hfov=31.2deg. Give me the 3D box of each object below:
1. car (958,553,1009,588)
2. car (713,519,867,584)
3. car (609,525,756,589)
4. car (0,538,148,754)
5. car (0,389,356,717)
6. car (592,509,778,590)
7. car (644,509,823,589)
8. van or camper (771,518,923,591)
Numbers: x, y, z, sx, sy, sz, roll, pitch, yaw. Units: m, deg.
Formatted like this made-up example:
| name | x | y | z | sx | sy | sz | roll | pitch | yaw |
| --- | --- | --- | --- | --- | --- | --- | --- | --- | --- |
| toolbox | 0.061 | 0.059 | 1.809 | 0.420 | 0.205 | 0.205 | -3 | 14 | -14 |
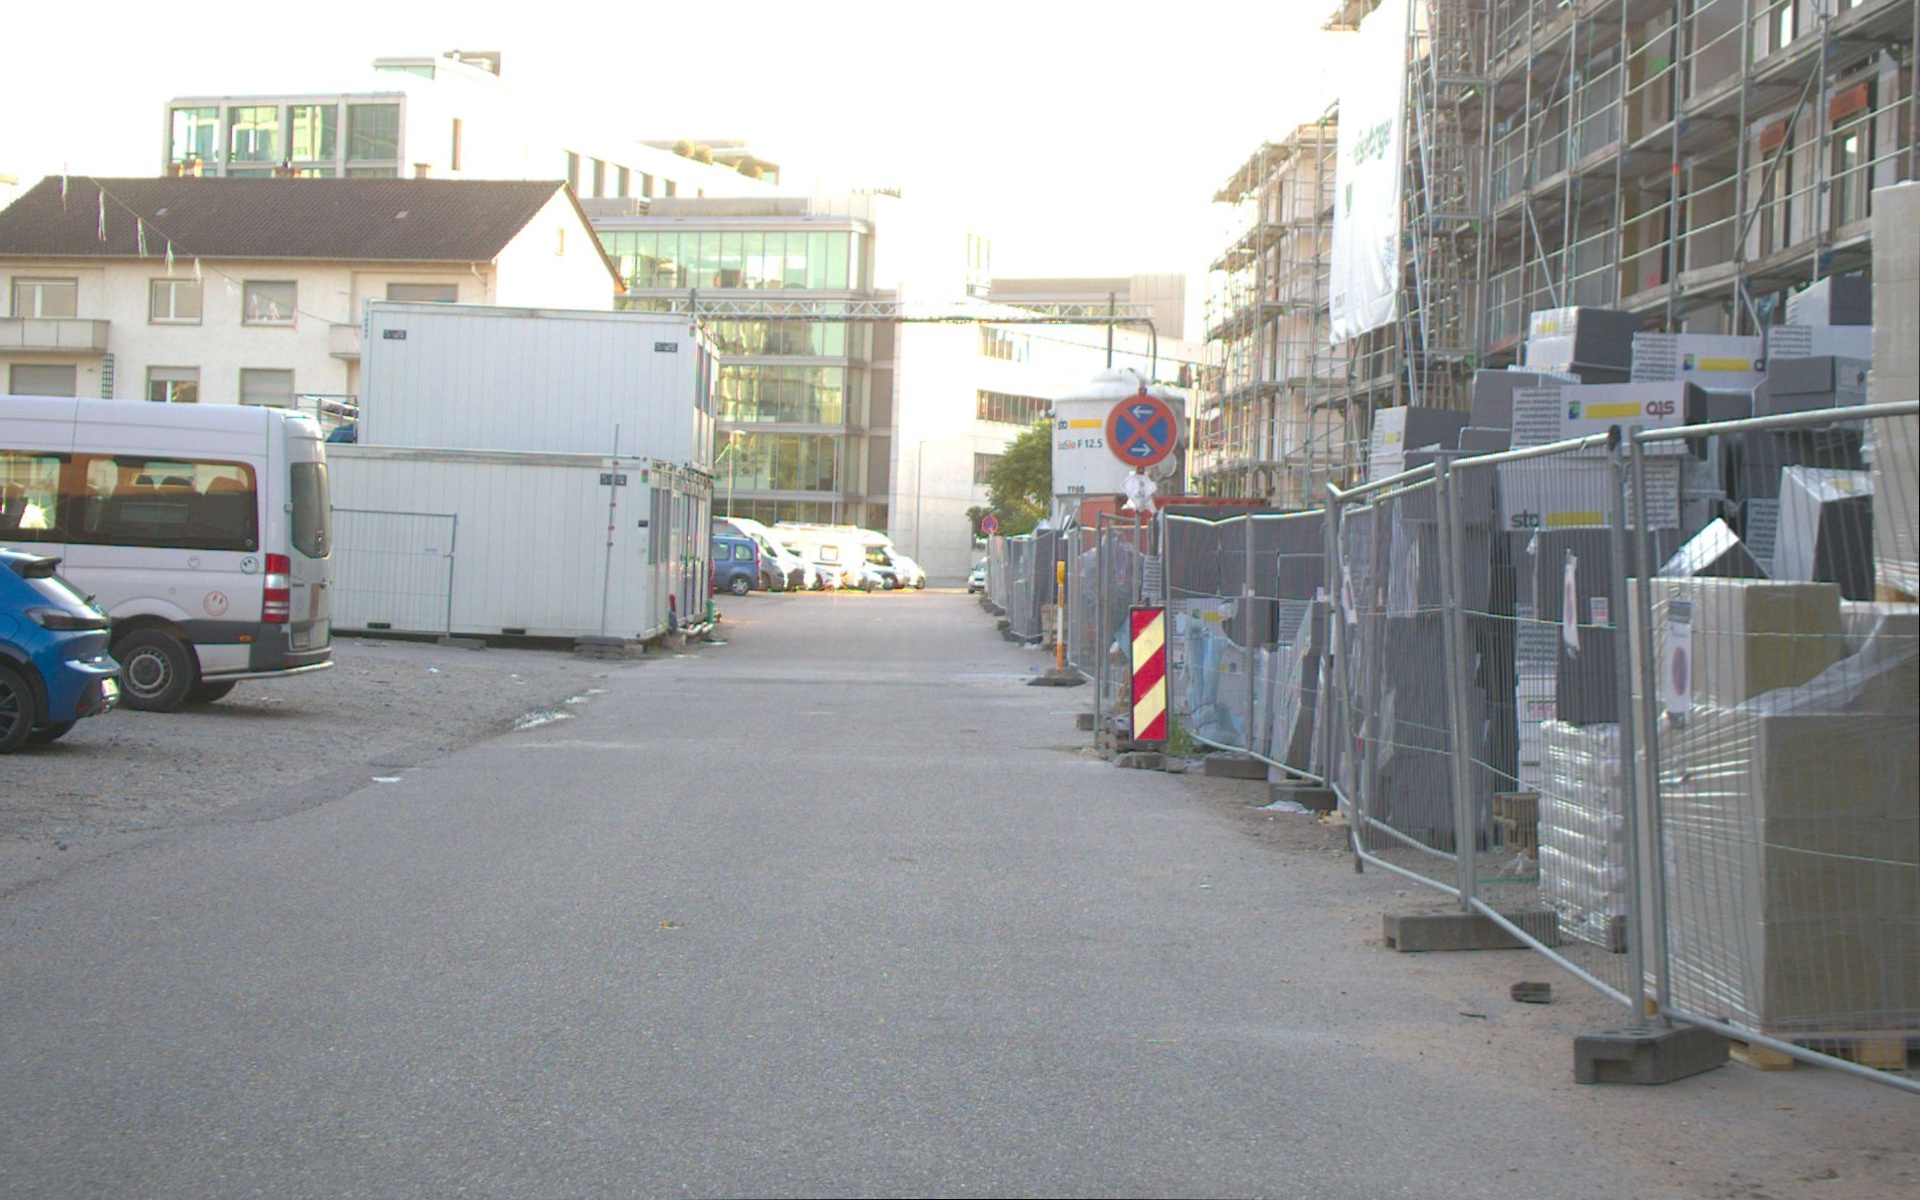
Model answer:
| name | x | y | z | sx | sy | sz | roll | pitch | yaw |
| --- | --- | --- | --- | --- | --- | --- | --- | --- | --- |
| car | 1.066 | -1.309 | 154.029 | 1.665 | 1.524 | 3.909 | 2 | 1 | 9 |
| car | -6.951 | -1.980 | 140.754 | 5.926 | 2.481 | 1.999 | 2 | 1 | 11 |
| car | -8.707 | -1.336 | 107.586 | 4.503 | 1.862 | 2.000 | 2 | 1 | -6 |
| car | -7.807 | 0.221 | 24.031 | 3.836 | 1.424 | 1.728 | 3 | 0 | -3 |
| car | -8.383 | -0.489 | 29.977 | 5.689 | 2.617 | 2.222 | 3 | 0 | 1 |
| car | -9.673 | -1.767 | 121.420 | 6.328 | 2.642 | 2.000 | 2 | 0 | 0 |
| car | -8.229 | -1.854 | 125.402 | 6.328 | 2.732 | 2.000 | 2 | 0 | 0 |
| van or camper | -5.060 | -2.054 | 154.525 | 6.336 | 2.968 | 2.291 | 3 | 0 | 12 |
